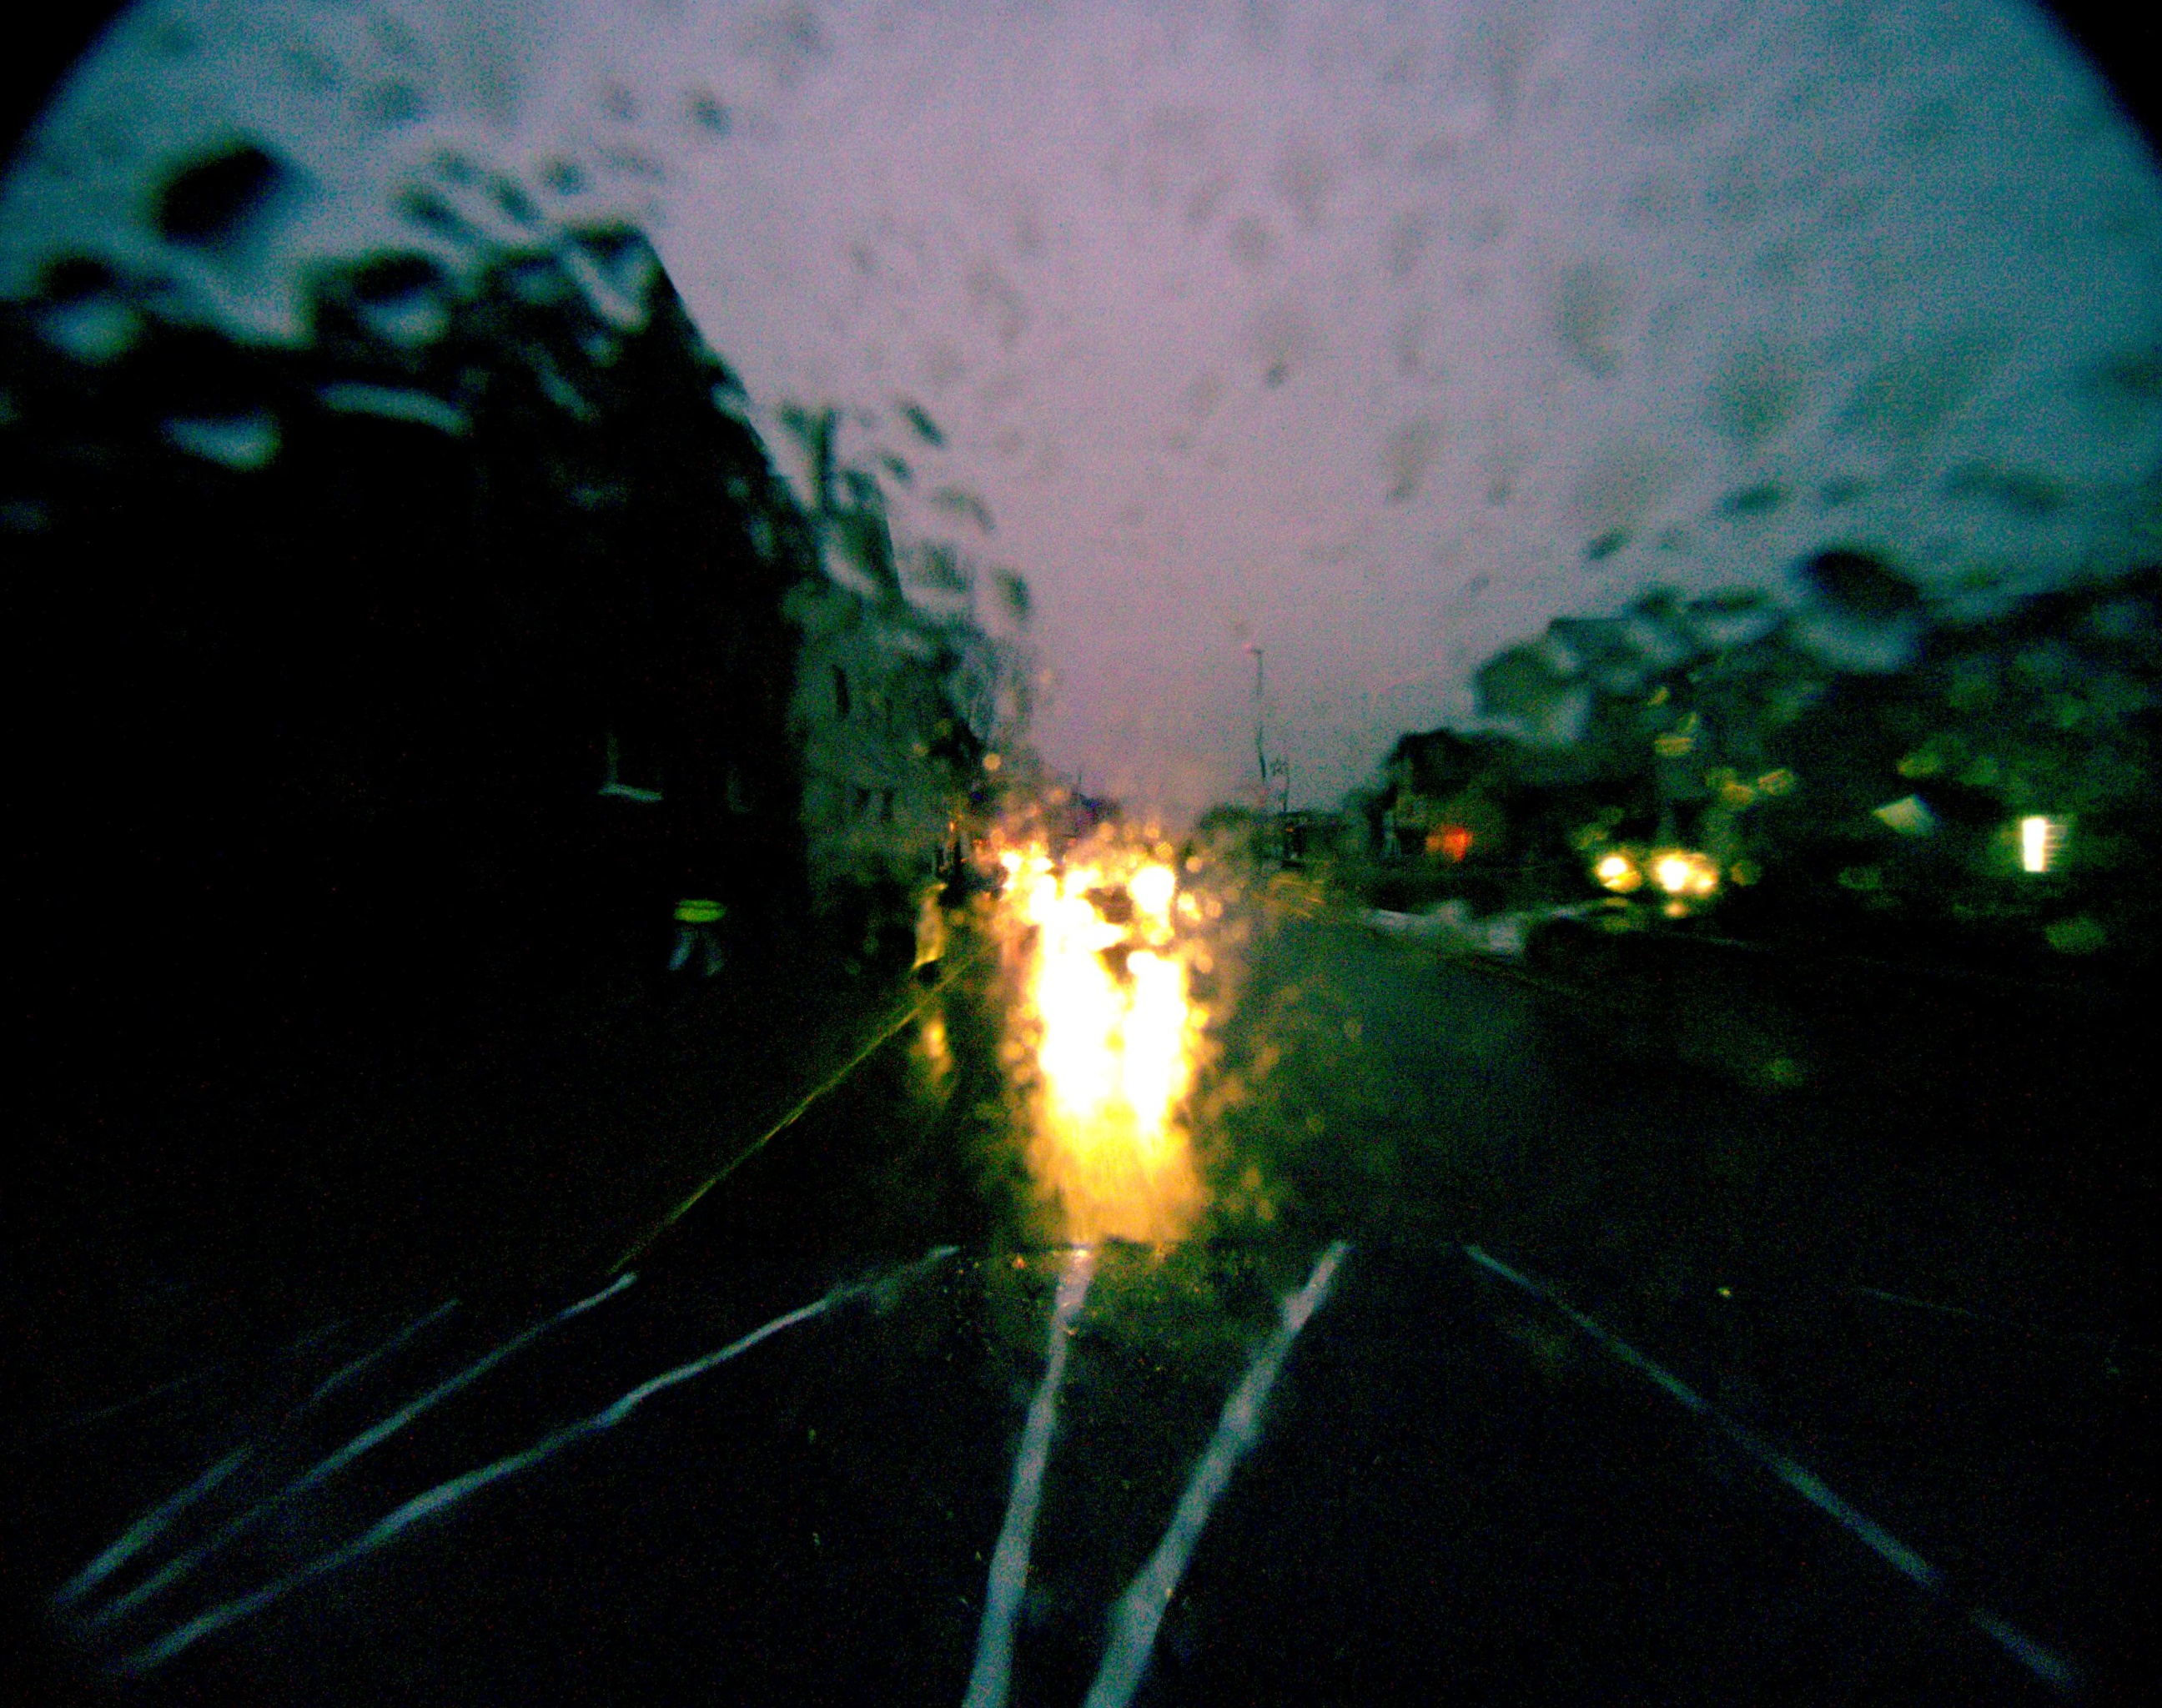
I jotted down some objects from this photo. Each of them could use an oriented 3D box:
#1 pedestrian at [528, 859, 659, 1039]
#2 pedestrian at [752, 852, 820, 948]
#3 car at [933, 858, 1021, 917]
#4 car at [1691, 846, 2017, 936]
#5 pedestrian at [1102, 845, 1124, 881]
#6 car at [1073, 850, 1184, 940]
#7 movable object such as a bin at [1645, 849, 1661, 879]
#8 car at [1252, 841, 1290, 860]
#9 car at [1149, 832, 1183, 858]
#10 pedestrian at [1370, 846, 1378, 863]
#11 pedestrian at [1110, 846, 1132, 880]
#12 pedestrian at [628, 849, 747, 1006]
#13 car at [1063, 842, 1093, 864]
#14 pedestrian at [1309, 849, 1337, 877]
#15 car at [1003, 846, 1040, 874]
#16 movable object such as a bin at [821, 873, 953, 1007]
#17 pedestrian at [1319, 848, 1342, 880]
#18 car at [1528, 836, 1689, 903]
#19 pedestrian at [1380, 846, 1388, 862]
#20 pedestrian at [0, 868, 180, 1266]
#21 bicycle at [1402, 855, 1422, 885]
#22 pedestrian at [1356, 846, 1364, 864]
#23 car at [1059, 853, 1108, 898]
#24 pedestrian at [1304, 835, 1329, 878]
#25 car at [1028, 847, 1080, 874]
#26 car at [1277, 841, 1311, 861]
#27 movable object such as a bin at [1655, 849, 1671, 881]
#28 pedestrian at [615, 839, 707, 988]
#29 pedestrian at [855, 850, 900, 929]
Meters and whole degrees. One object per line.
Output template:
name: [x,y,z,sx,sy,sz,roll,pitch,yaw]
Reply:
pedestrian: [-4.708,0.863,7.395,0.480,1.621,1.020,0,0,14]
pedestrian: [-5.335,0.804,13.801,0.748,1.669,1.052,0,0,6]
car: [-2.865,0.881,21.769,1.732,1.456,4.199,2,0,2]
car: [14.548,0.612,14.790,1.806,1.474,4.572,0,0,2]
pedestrian: [1.679,0.473,39.982,0.789,1.856,0.711,1,4,43]
car: [0.871,0.750,16.286,1.958,1.576,4.108,-2,1,-2]
movable object such as a bin: [21.680,0.386,28.789,0.288,1.114,0.453,-2,3,5]
car: [21.003,-0.433,84.191,1.974,1.984,3.990,-4,3,-26]
car: [7.379,-0.798,65.655,2.055,1.976,4.541,-2,3,17]
pedestrian: [28.985,0.076,75.163,0.582,1.602,0.500,-2,3,5]
pedestrian: [2.141,0.458,40.649,0.789,1.752,0.769,1,4,43]
pedestrian: [-4.525,0.797,8.794,0.713,1.705,1.035,0,0,14]
car: [-0.239,-0.114,59.802,2.172,1.469,3.998,-2,3,0]
pedestrian: [10.400,0.378,32.714,0.990,1.151,0.903,-2,-1,10]
car: [-4.258,0.402,53.854,1.827,1.736,3.993,-3,3,-14]
movable object such as a bin: [-2.271,0.973,9.125,1.131,1.412,1.417,2,0,2]
pedestrian: [10.122,0.405,30.792,0.687,1.264,0.750,-2,1,5]
car: [14.840,0.387,21.737,1.758,1.691,4.566,1,0,6]
pedestrian: [30.067,0.019,75.479,0.582,1.602,0.500,-2,3,5]
pedestrian: [-4.788,0.877,3.342,0.620,1.617,0.905,-1,0,-13]
bicycle: [11.990,0.559,27.577,0.470,1.004,1.741,0,1,17]
pedestrian: [25.983,0.067,70.815,0.582,1.602,0.500,-2,3,5]
car: [0.146,0.818,30.821,1.762,1.471,4.019,-2,2,3]
pedestrian: [9.772,0.085,31.570,0.750,1.732,0.687,-2,1,0]
car: [-1.779,0.369,48.539,2.030,1.471,4.549,-3,3,-19]
car: [23.709,-0.349,84.610,1.926,2.003,3.966,-3,3,-13]
movable object such as a bin: [21.598,0.400,28.197,0.288,1.136,0.453,-2,3,5]
pedestrian: [-5.292,0.719,9.616,0.530,1.790,0.865,-2,1,10]
pedestrian: [-4.493,0.773,16.814,0.530,1.644,0.954,-2,3,10]
